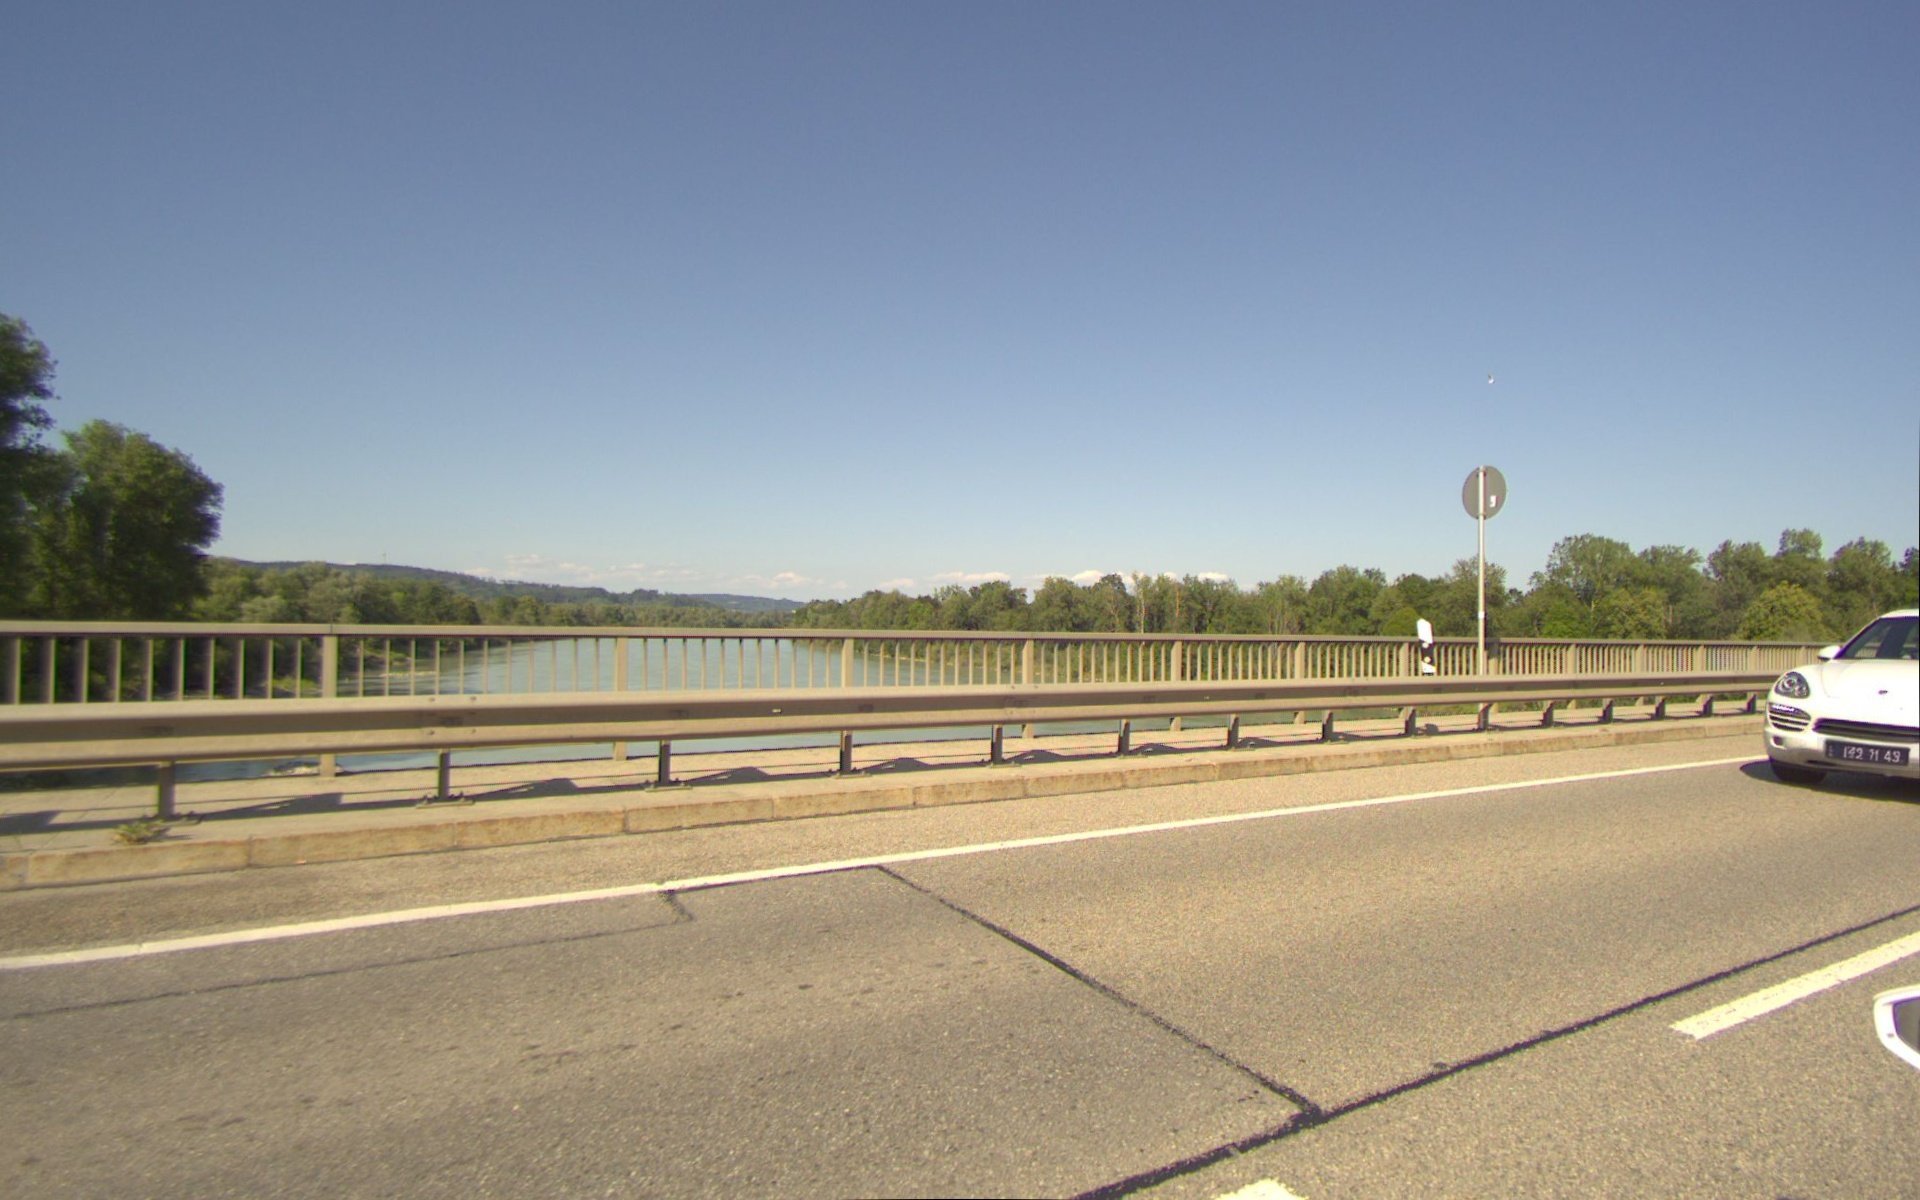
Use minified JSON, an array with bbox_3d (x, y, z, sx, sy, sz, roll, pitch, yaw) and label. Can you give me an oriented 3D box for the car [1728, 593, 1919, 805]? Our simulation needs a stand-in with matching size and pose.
[{"bbox_3d":[9.435,0.831,9.398,4.543,1.673,1.974,1,0,-30],"label":"car"}]
